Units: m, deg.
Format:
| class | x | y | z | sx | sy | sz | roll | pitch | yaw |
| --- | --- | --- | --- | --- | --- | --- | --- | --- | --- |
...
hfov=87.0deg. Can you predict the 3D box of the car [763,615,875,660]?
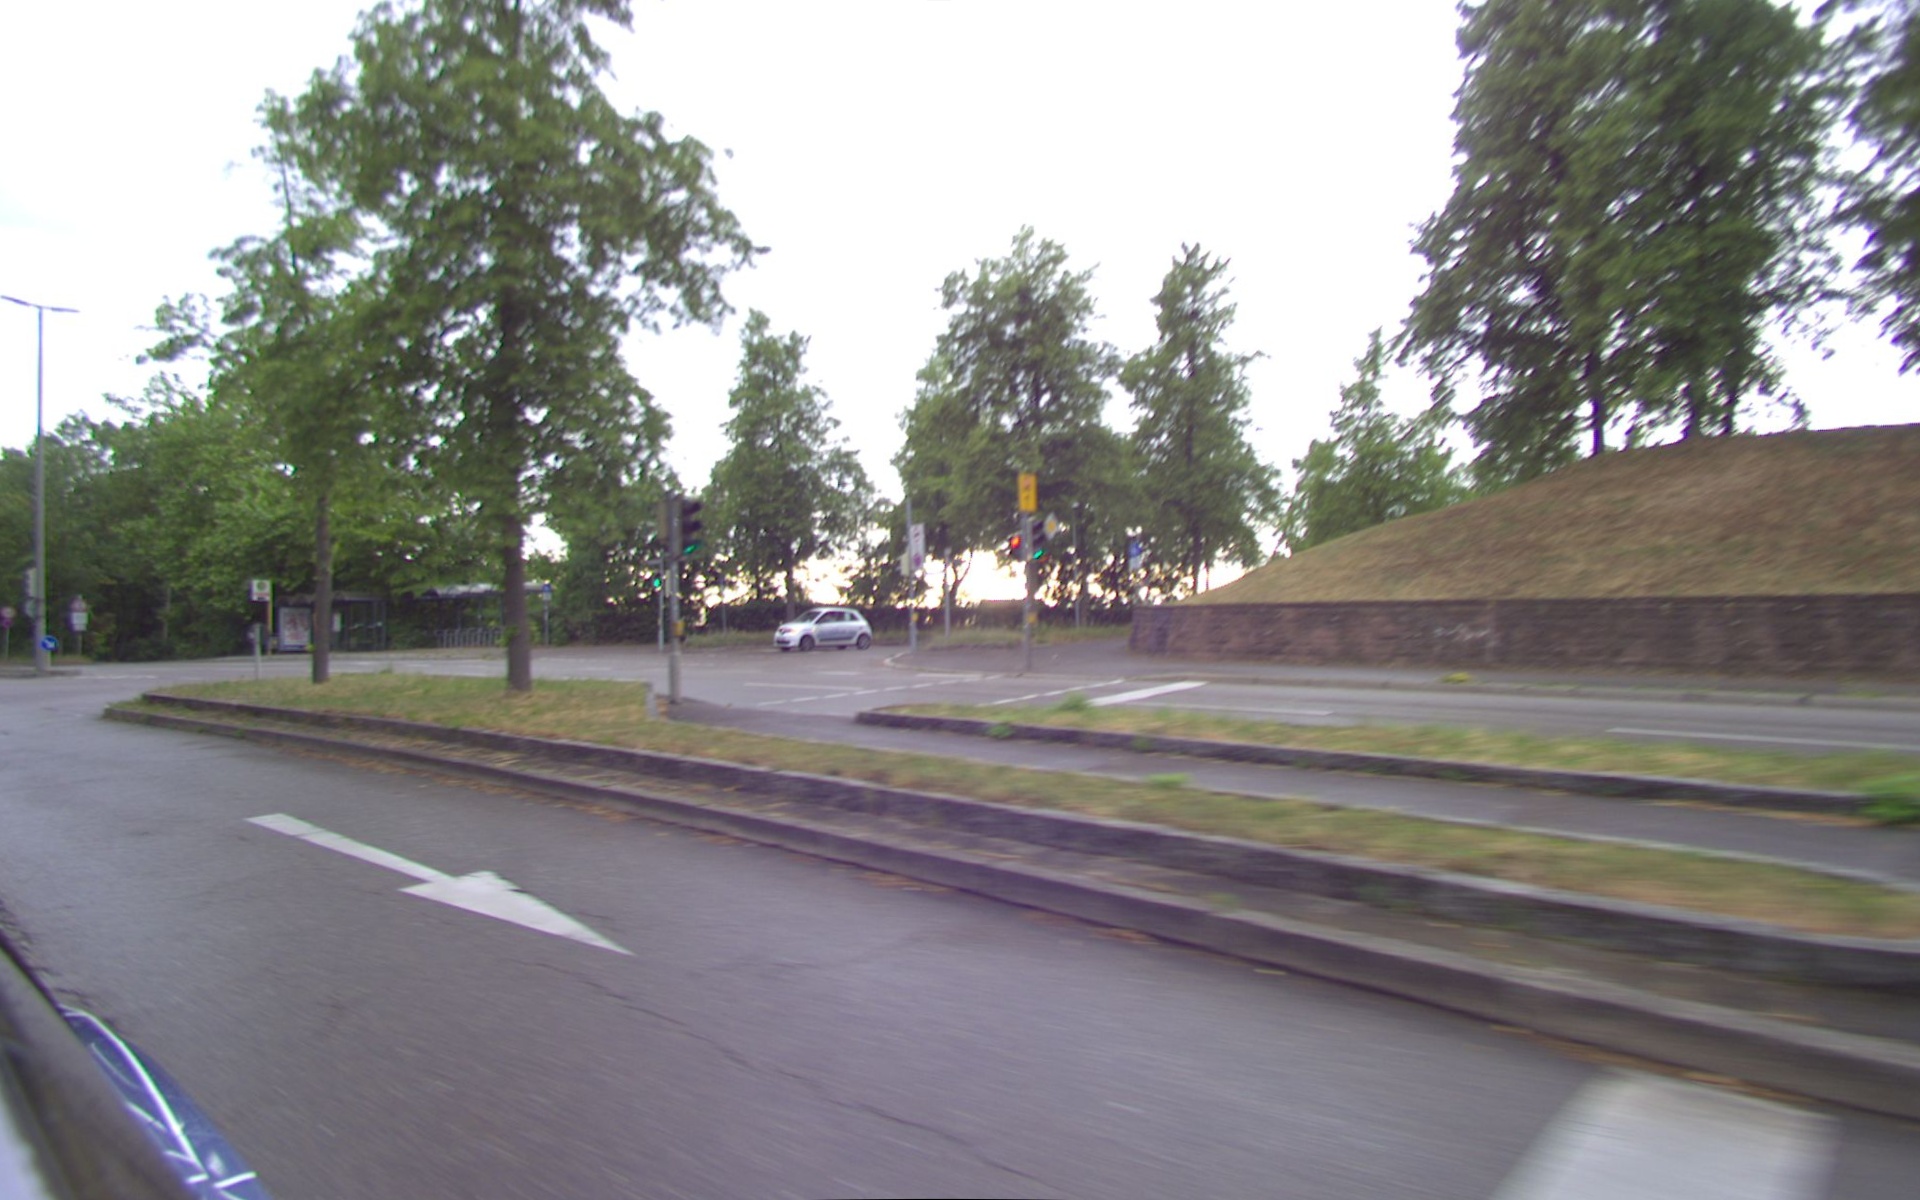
| class | x | y | z | sx | sy | sz | roll | pitch | yaw |
| --- | --- | --- | --- | --- | --- | --- | --- | --- | --- |
| car | -5.148 | 1.332 | 37.070 | 3.638 | 1.489 | 1.765 | -1 | -1 | -38 |
